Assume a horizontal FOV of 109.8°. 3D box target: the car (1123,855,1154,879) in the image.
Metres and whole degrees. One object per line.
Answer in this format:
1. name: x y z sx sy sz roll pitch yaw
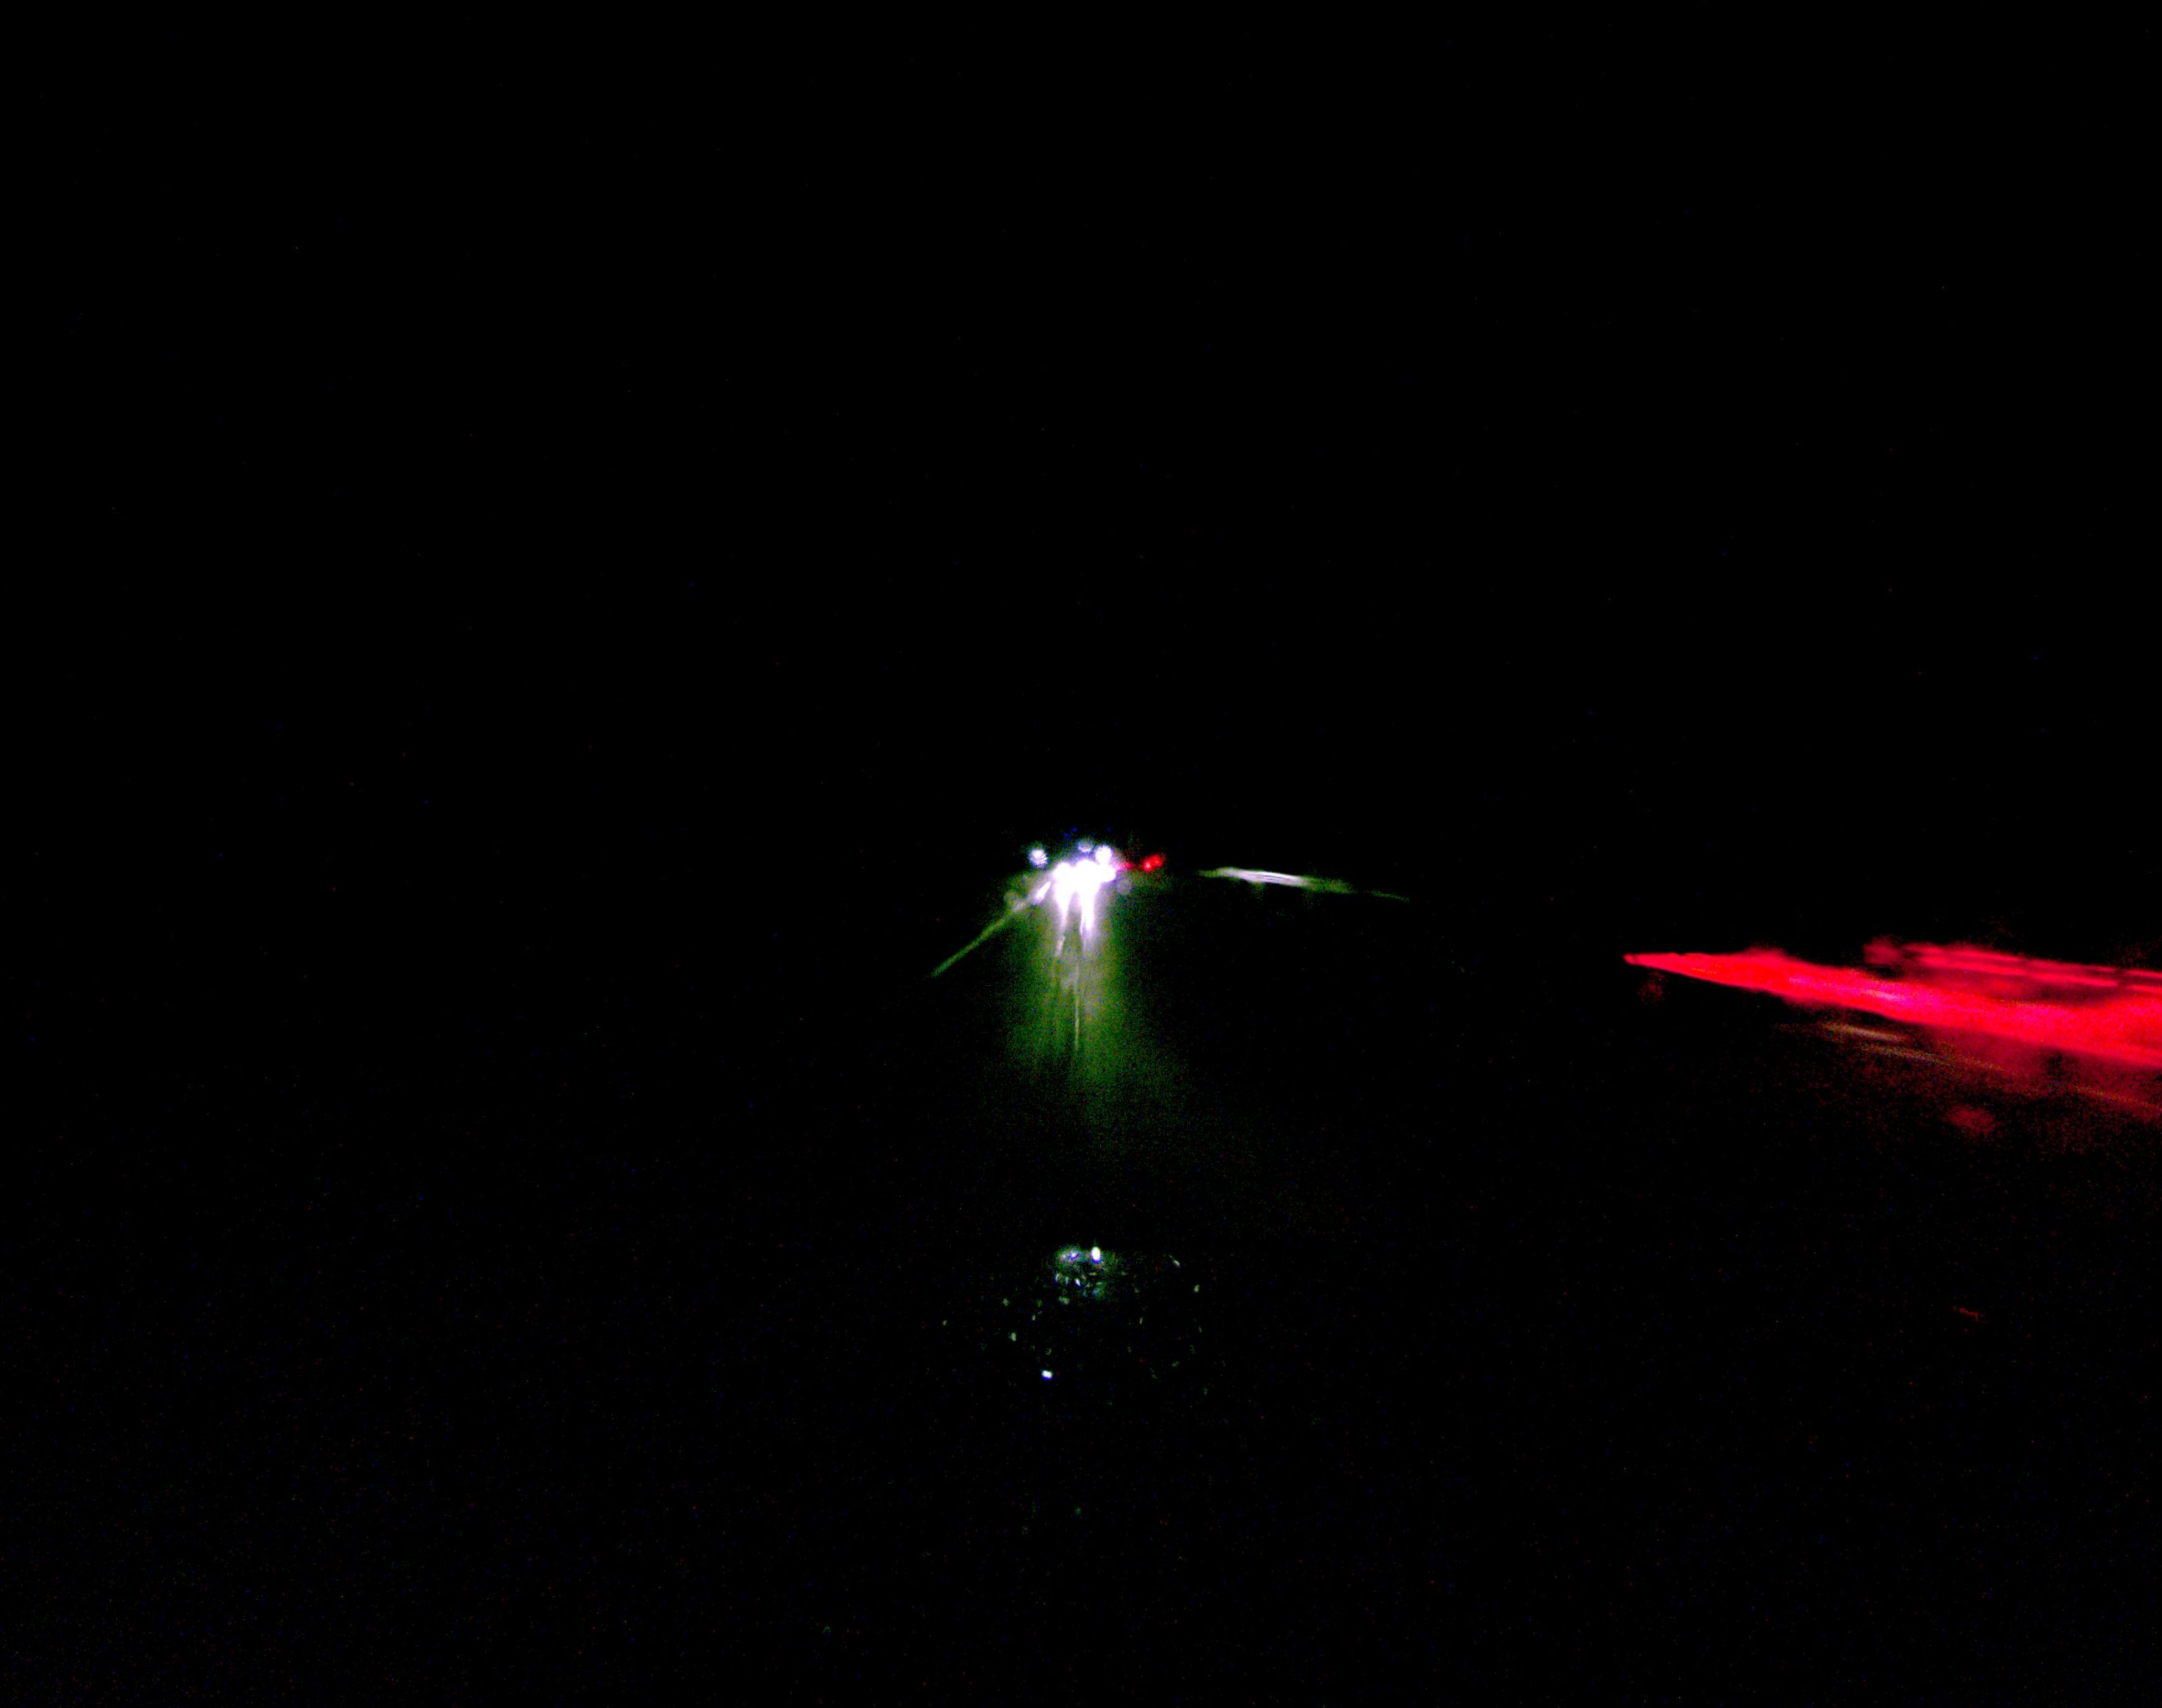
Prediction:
1. car: 3.737 0.852 49.699 1.720 1.462 3.708 -1 -1 0

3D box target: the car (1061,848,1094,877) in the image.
1. car: -0.221 0.572 52.868 1.998 1.804 4.001 -3 0 3

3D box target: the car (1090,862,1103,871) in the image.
1. car: 2.407 1.944 119.983 1.649 1.417 4.123 -2 -1 -3

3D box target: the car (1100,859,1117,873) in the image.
1. car: 3.152 1.390 87.767 1.720 1.508 3.878 -3 -1 0

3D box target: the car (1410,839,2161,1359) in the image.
1. car: 3.484 0.732 4.026 1.833 1.447 3.794 0 -1 0
